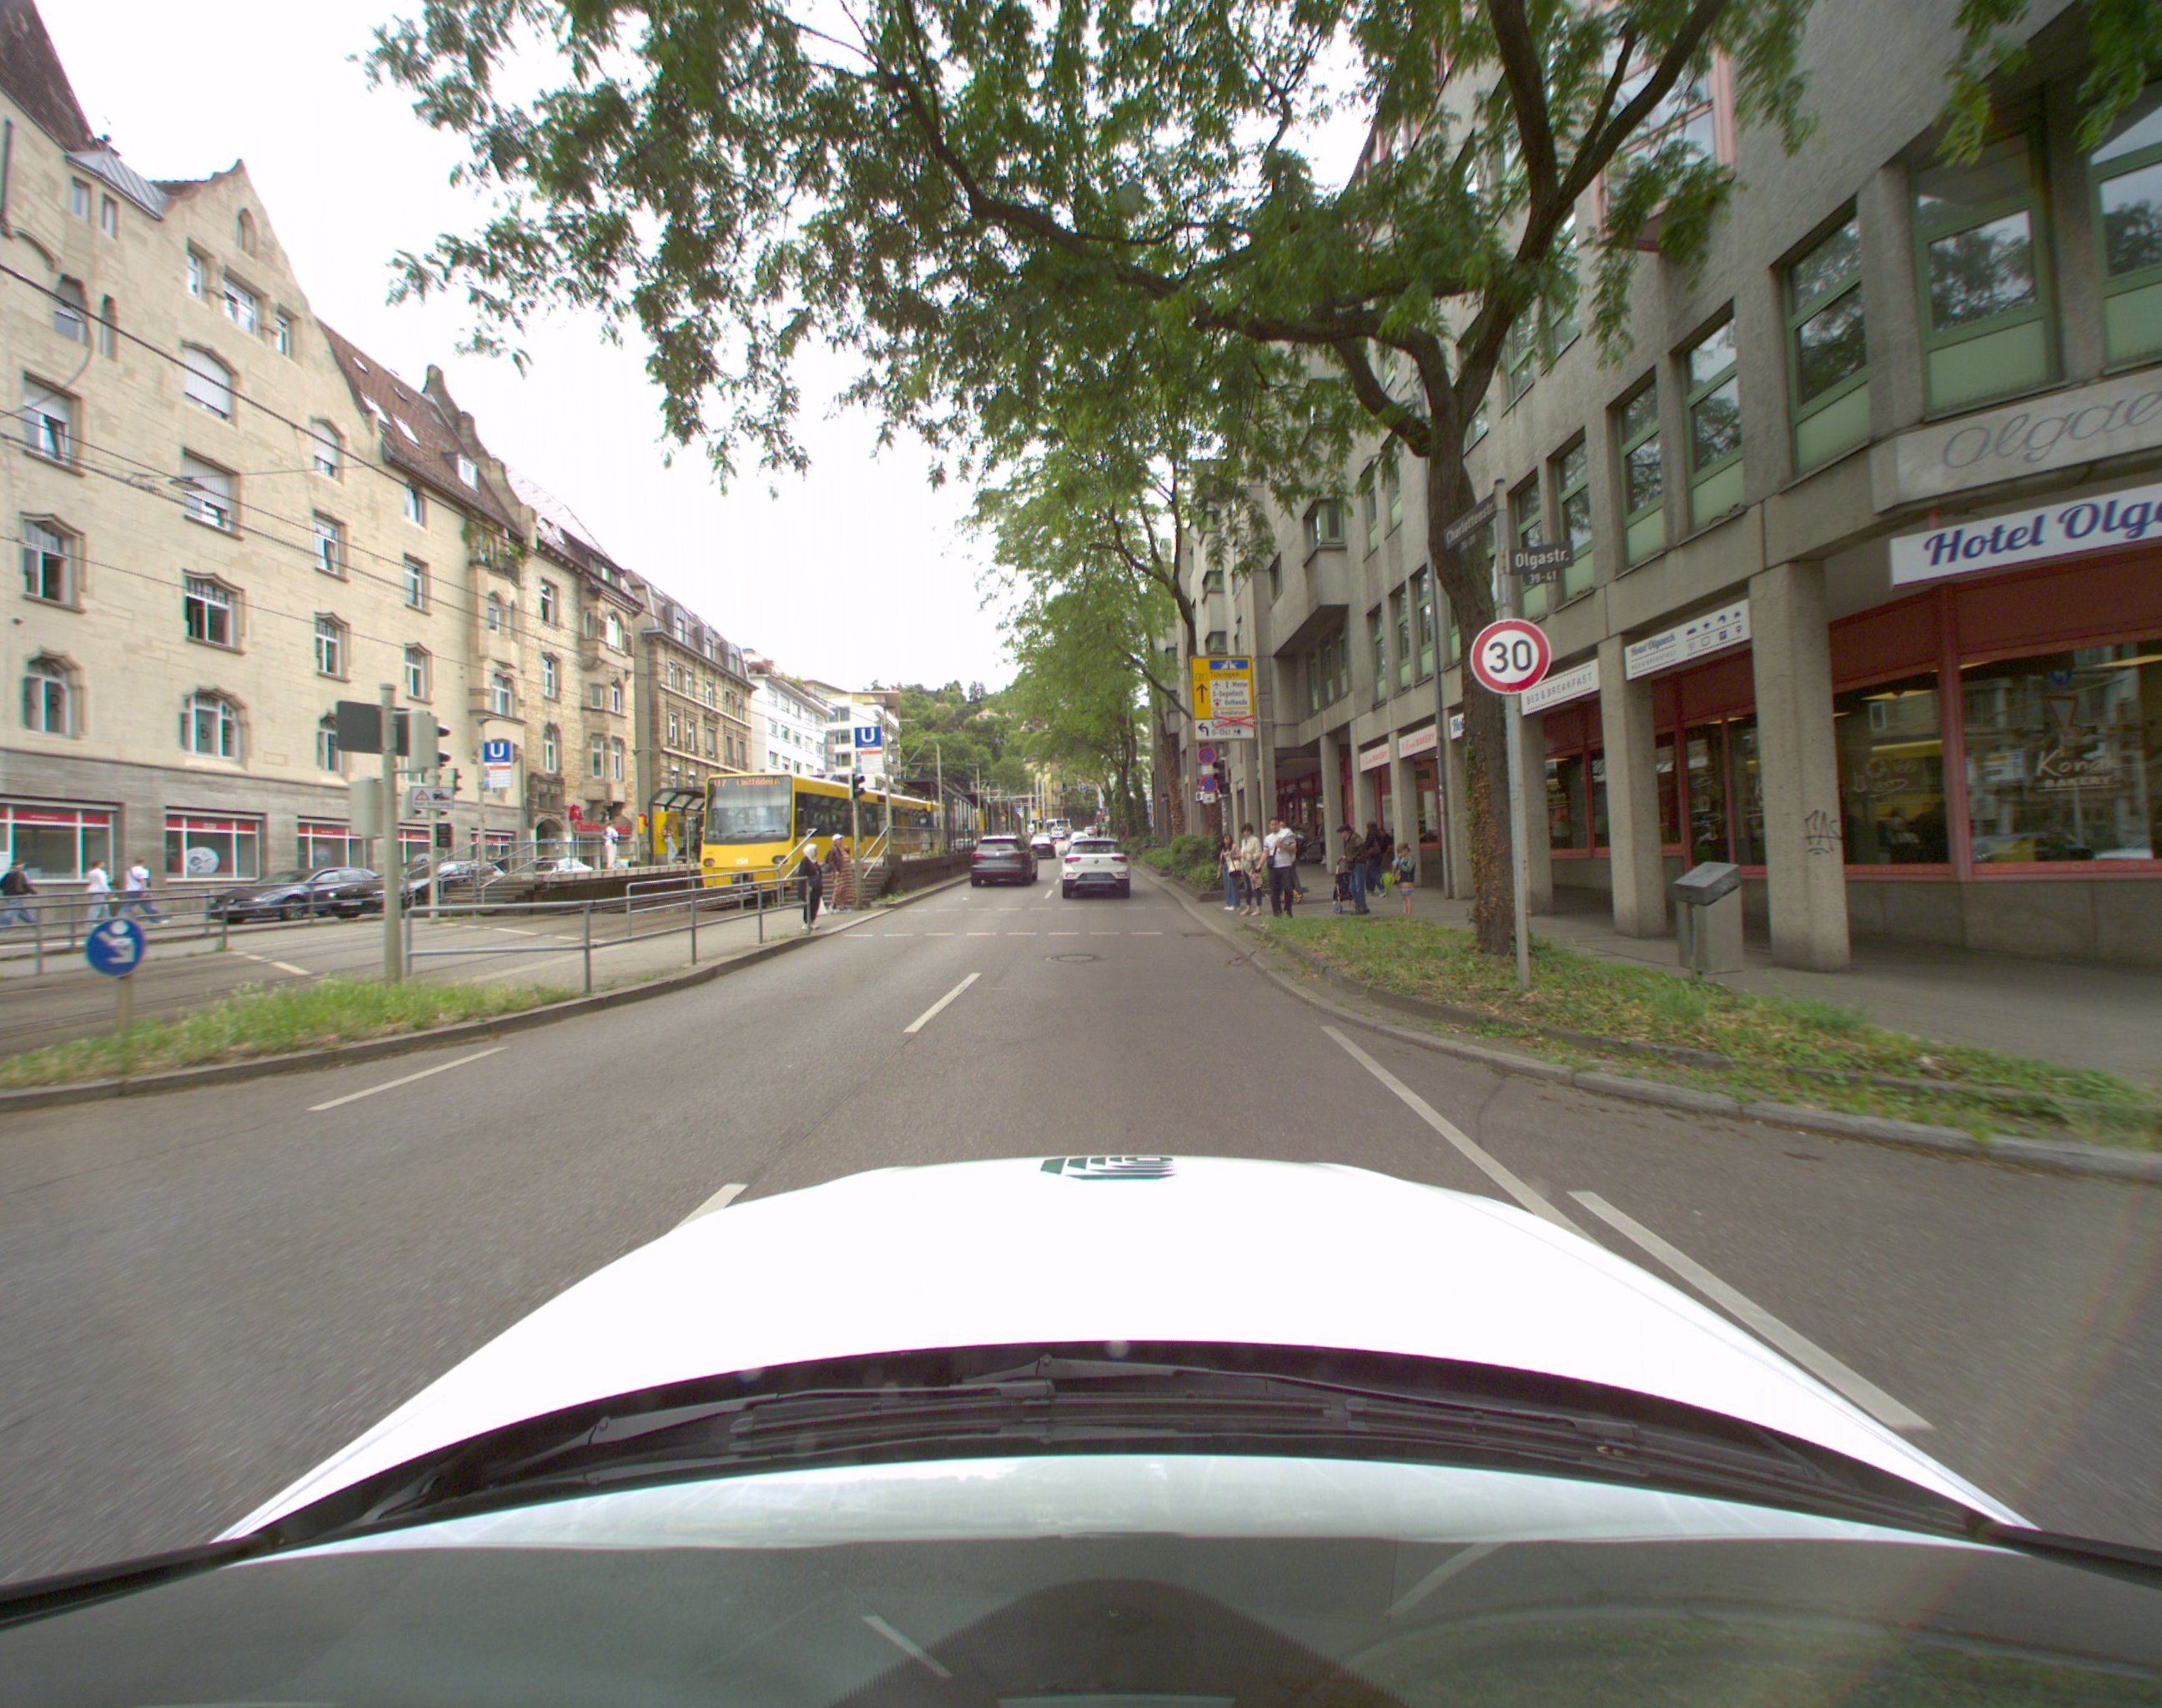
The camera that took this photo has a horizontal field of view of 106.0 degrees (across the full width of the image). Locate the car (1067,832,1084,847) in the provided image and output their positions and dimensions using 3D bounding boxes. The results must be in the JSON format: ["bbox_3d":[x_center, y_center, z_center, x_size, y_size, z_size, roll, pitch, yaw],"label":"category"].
[{"bbox_3d":[-0.676,-1.781,100.684,1.877,1.684,4.163,-1,0,2],"label":"car"}]

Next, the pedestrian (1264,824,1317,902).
[{"bbox_3d":[4.308,0.177,16.802,0.834,1.563,0.763,-1,0,-5],"label":"pedestrian"}]

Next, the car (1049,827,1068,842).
[{"bbox_3d":[-3.319,-2.875,119.673,2.355,2.013,5.152,-1,0,3],"label":"car"}]

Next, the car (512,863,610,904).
[{"bbox_3d":[-20.940,1.136,32.961,1.553,1.523,3.601,-1,0,2],"label":"car"}]

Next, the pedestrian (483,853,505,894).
[{"bbox_3d":[-25.368,0.842,35.212,0.632,1.762,0.836,-2,0,-43],"label":"pedestrian"}]

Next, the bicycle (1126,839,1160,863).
[{"bbox_3d":[3.166,-0.140,41.652,1.613,1.128,0.614,-4,1,3],"label":"bicycle"}]

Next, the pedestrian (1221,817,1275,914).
[{"bbox_3d":[3.223,0.219,15.758,0.692,1.777,0.688,-6,0,-5],"label":"pedestrian"}]

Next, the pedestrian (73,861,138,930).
[{"bbox_3d":[-25.175,1.061,21.018,0.778,1.705,0.724,-2,0,5],"label":"pedestrian"}]

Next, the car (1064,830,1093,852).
[{"bbox_3d":[-0.222,-0.990,65.044,1.883,1.684,4.151,-1,0,-7],"label":"car"}]

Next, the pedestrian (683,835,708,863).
[{"bbox_3d":[-15.524,-0.217,32.831,0.633,1.107,0.690,-2,1,-1],"label":"pedestrian"}]

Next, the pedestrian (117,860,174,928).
[{"bbox_3d":[-24.144,1.025,21.030,0.600,1.705,0.711,-2,0,5],"label":"pedestrian"}]

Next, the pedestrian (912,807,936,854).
[{"bbox_3d":[-5.873,-0.864,30.515,0.715,1.730,0.671,-1,0,1],"label":"pedestrian"}]

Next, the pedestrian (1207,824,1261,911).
[{"bbox_3d":[3.159,0.265,16.891,0.834,1.703,0.763,-4,1,-5],"label":"pedestrian"}]

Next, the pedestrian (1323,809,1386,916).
[{"bbox_3d":[4.840,0.136,14.453,0.720,1.802,0.833,-4,3,-4],"label":"pedestrian"}]

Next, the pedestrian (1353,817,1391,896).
[{"bbox_3d":[6.160,0.045,17.284,0.612,1.612,0.767,-3,3,12],"label":"pedestrian"}]

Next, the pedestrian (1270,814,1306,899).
[{"bbox_3d":[4.444,0.044,17.537,0.517,1.789,0.763,-1,0,-4],"label":"pedestrian"}]

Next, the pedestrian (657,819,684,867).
[{"bbox_3d":[-15.028,-0.403,29.831,0.635,1.711,0.688,-2,1,-9],"label":"pedestrian"}]

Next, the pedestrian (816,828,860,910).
[{"bbox_3d":[-5.228,0.317,17.563,0.683,1.711,0.711,-2,1,-1],"label":"pedestrian"}]

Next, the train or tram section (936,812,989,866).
[{"bbox_3d":[-8.465,-1.049,58.916,2.804,3.666,6.751,-1,1,0],"label":"train or tram section"}]

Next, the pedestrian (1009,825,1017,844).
[{"bbox_3d":[-7.096,-2.021,85.062,0.761,2.014,0.836,-1,0,-7],"label":"pedestrian"}]

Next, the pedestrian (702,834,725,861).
[{"bbox_3d":[-15.531,-0.264,34.444,0.633,1.107,0.690,-2,1,-1],"label":"pedestrian"}]

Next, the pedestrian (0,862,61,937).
[{"bbox_3d":[-24.915,1.061,19.252,0.778,1.705,0.654,-2,0,5],"label":"pedestrian"}]

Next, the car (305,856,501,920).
[{"bbox_3d":[-18.268,0.855,22.221,1.901,1.574,4.001,-1,0,1],"label":"car"}]

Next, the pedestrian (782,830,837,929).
[{"bbox_3d":[-4.855,0.431,14.609,0.633,1.711,0.871,-2,1,0],"label":"pedestrian"}]

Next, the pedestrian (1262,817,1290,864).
[{"bbox_3d":[7.829,-0.531,32.695,0.829,1.803,0.723,-4,1,0],"label":"pedestrian"}]

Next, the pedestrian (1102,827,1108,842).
[{"bbox_3d":[3.183,-2.562,107.811,0.758,2.014,0.839,-1,0,5],"label":"pedestrian"}]

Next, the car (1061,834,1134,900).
[{"bbox_3d":[0.386,0.273,22.434,1.832,1.583,4.156,0,2,-1],"label":"car"}]

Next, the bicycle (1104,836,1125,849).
[{"bbox_3d":[3.095,-1.056,75.109,1.871,1.137,0.809,-1,0,5],"label":"bicycle"}]

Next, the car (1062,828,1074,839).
[{"bbox_3d":[-2.123,-3.276,133.473,1.878,1.684,4.161,-1,0,0],"label":"car"}]

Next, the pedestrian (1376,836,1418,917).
[{"bbox_3d":[5.281,0.369,13.618,0.470,1.333,0.519,-1,0,-5],"label":"pedestrian"}]

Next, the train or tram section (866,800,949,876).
[{"bbox_3d":[-8.593,-0.792,40.985,2.826,3.520,5.752,-1,1,0],"label":"train or tram section"}]

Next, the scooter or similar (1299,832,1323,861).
[{"bbox_3d":[9.264,-0.302,32.802,0.849,1.110,0.768,-3,0,16],"label":"scooter or similar"}]

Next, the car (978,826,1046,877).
[{"bbox_3d":[-2.888,-0.097,35.418,2.356,2.013,5.150,-1,0,2],"label":"car"}]

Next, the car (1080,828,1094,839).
[{"bbox_3d":[0.970,-3.421,136.149,1.881,1.684,4.154,-1,0,-5],"label":"car"}]

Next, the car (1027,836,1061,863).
[{"bbox_3d":[-2.428,-0.321,53.925,1.905,1.689,4.002,0,2,2],"label":"car"}]

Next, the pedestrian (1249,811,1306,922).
[{"bbox_3d":[3.422,0.212,14.226,0.732,1.874,0.732,-1,0,-5],"label":"pedestrian"}]

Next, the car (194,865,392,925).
[{"bbox_3d":[-21.797,1.082,22.766,1.624,1.375,3.788,-3,0,4],"label":"car"}]

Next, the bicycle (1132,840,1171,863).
[{"bbox_3d":[3.709,-0.156,42.879,1.912,1.076,0.612,-4,1,-4],"label":"bicycle"}]

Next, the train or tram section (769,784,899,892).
[{"bbox_3d":[-8.703,-0.566,29.448,2.826,3.520,5.752,-1,1,0],"label":"train or tram section"}]

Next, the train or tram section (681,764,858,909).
[{"bbox_3d":[-8.741,-0.495,23.681,2.826,3.678,5.752,-1,1,0],"label":"train or tram section"}]

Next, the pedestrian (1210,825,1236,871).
[{"bbox_3d":[5.794,-0.262,33.324,0.761,1.782,0.846,-3,3,-5],"label":"pedestrian"}]

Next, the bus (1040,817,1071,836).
[{"bbox_3d":[-4.803,-4.970,149.952,3.374,3.064,13.270,-1,0,-12],"label":"bus"}]

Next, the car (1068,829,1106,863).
[{"bbox_3d":[0.274,-0.401,42.252,1.879,1.684,4.160,-1,0,-1],"label":"car"}]

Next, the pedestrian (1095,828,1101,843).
[{"bbox_3d":[2.401,-2.584,113.945,0.758,2.014,0.839,-1,0,5],"label":"pedestrian"}]

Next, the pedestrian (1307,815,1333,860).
[{"bbox_3d":[9.345,-0.636,31.802,0.759,1.723,0.677,-3,0,2],"label":"pedestrian"}]

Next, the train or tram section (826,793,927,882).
[{"bbox_3d":[-8.660,-0.700,35.203,2.826,3.520,5.752,-1,1,0],"label":"train or tram section"}]

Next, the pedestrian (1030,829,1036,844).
[{"bbox_3d":[-6.817,-2.440,114.880,0.759,2.014,0.838,-1,0,0],"label":"pedestrian"}]

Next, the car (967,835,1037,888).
[{"bbox_3d":[-2.581,0.190,27.524,1.988,1.635,3.999,-1,1,-1],"label":"car"}]

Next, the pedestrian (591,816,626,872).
[{"bbox_3d":[-14.958,-0.315,25.794,0.686,1.711,0.661,-2,1,-1],"label":"pedestrian"}]
